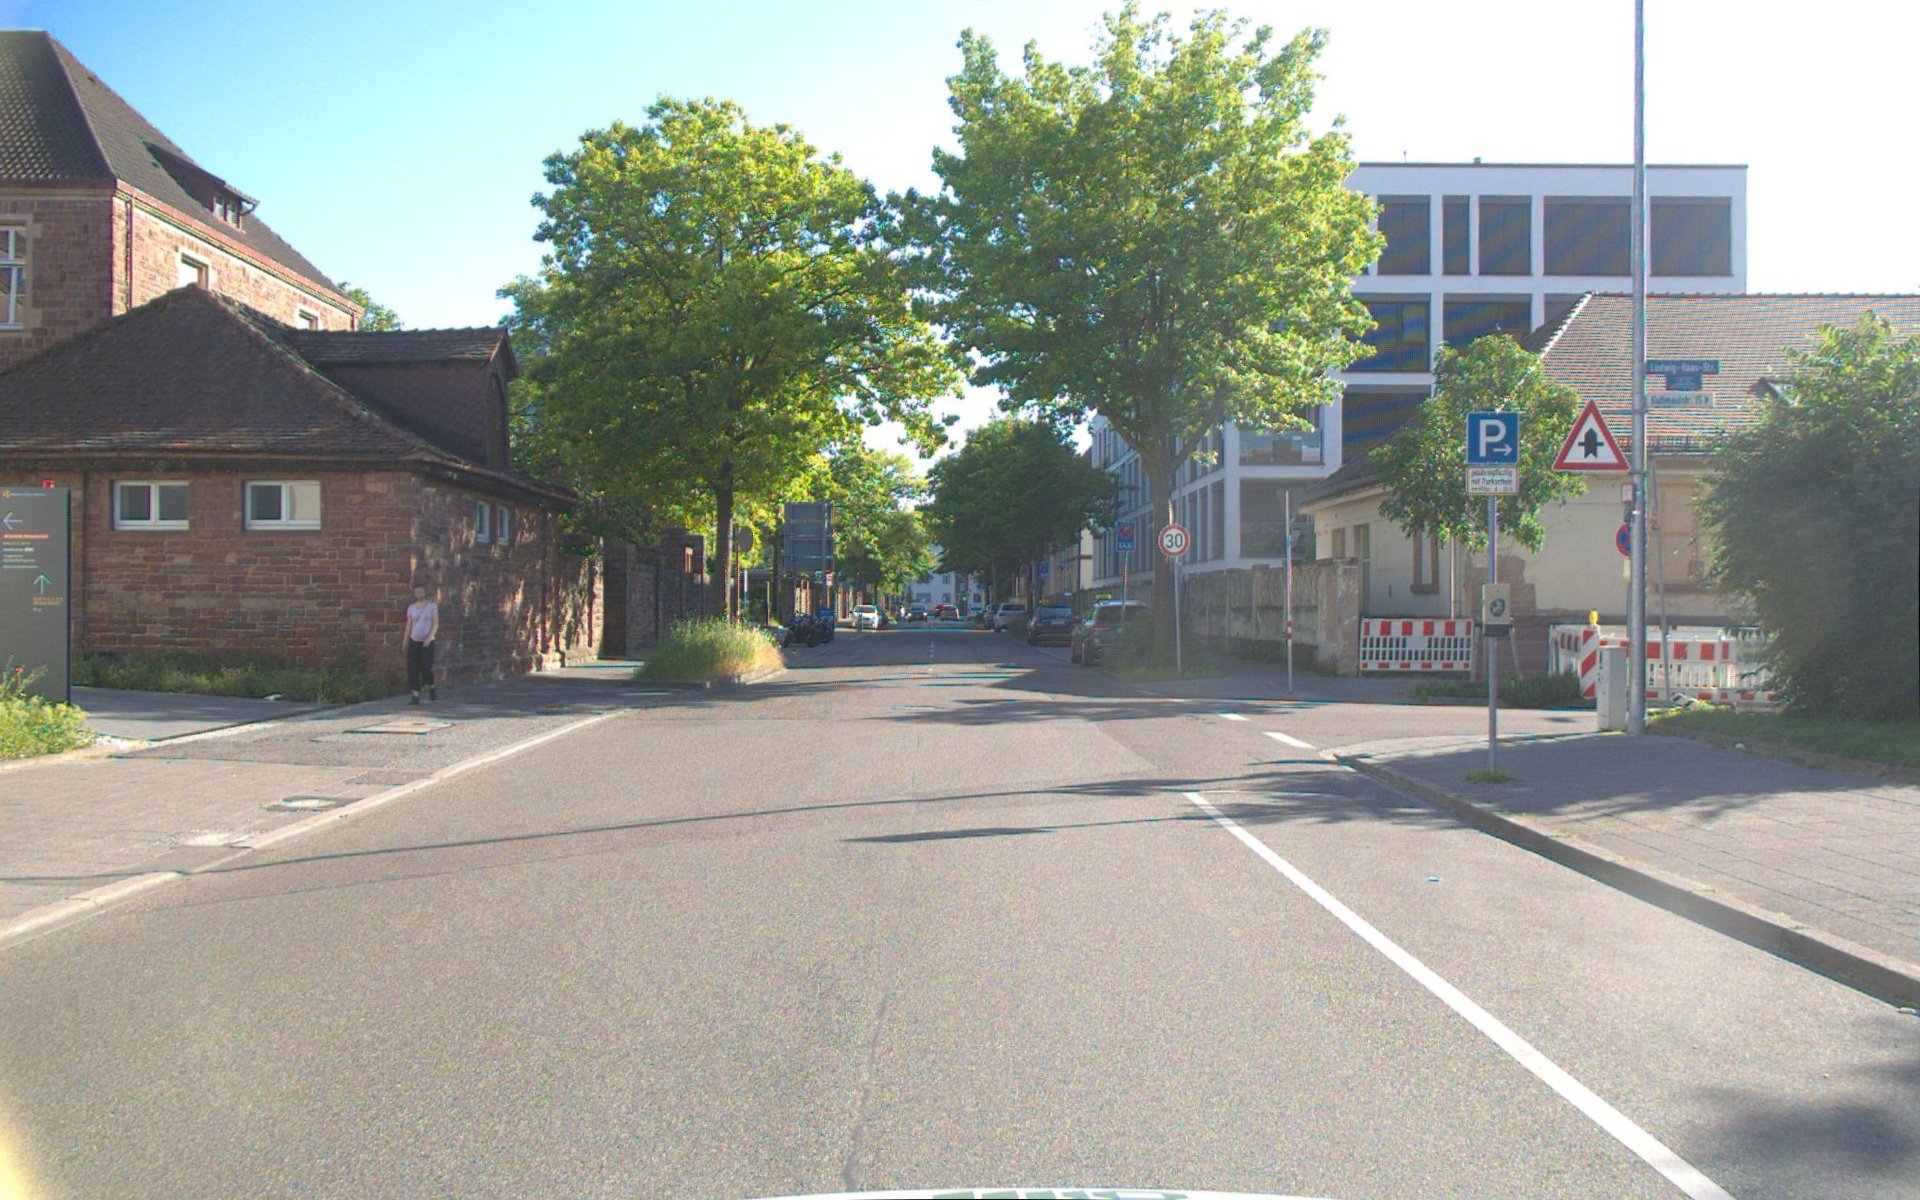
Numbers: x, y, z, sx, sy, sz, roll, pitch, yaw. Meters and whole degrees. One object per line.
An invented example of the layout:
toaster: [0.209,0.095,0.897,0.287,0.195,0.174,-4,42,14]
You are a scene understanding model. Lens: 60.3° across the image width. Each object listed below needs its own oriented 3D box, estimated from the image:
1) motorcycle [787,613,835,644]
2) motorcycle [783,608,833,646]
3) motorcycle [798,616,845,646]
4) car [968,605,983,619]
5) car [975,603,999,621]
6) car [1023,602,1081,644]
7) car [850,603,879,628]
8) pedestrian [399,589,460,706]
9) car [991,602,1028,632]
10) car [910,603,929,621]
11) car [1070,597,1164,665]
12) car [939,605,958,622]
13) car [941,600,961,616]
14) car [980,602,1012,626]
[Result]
motorcycle: [-5.267,1.000,58.547,0.566,1.093,2.116,0,0,32]
motorcycle: [-5.238,0.916,57.005,0.566,1.298,2.116,0,0,32]
motorcycle: [-5.107,1.134,61.201,0.566,1.093,2.116,0,0,32]
car: [1.569,1.204,170.447,1.553,1.424,3.836,0,0,0]
car: [2.204,0.980,136.886,1.953,1.450,3.836,0,0,0]
car: [3.326,0.814,60.479,1.731,1.465,3.998,0,0,-2]
car: [-5.830,0.923,101.313,1.731,1.513,3.998,0,0,-2]
pedestrian: [-7.364,0.645,23.001,0.511,1.590,1.095,0,0,-2]
car: [2.653,0.900,89.182,1.910,1.606,3.836,0,0,0]
car: [-3.641,1.081,148.442,1.620,1.557,3.999,0,0,-1]
car: [3.647,0.701,39.077,1.668,1.494,4.787,0,0,-1]
car: [-1.085,1.302,157.103,1.731,1.575,4.064,0,0,-2]
car: [-0.829,0.742,157.053,1.850,1.424,3.836,0,0,0]
car: [2.244,0.876,104.677,1.953,1.491,3.836,0,0,0]
